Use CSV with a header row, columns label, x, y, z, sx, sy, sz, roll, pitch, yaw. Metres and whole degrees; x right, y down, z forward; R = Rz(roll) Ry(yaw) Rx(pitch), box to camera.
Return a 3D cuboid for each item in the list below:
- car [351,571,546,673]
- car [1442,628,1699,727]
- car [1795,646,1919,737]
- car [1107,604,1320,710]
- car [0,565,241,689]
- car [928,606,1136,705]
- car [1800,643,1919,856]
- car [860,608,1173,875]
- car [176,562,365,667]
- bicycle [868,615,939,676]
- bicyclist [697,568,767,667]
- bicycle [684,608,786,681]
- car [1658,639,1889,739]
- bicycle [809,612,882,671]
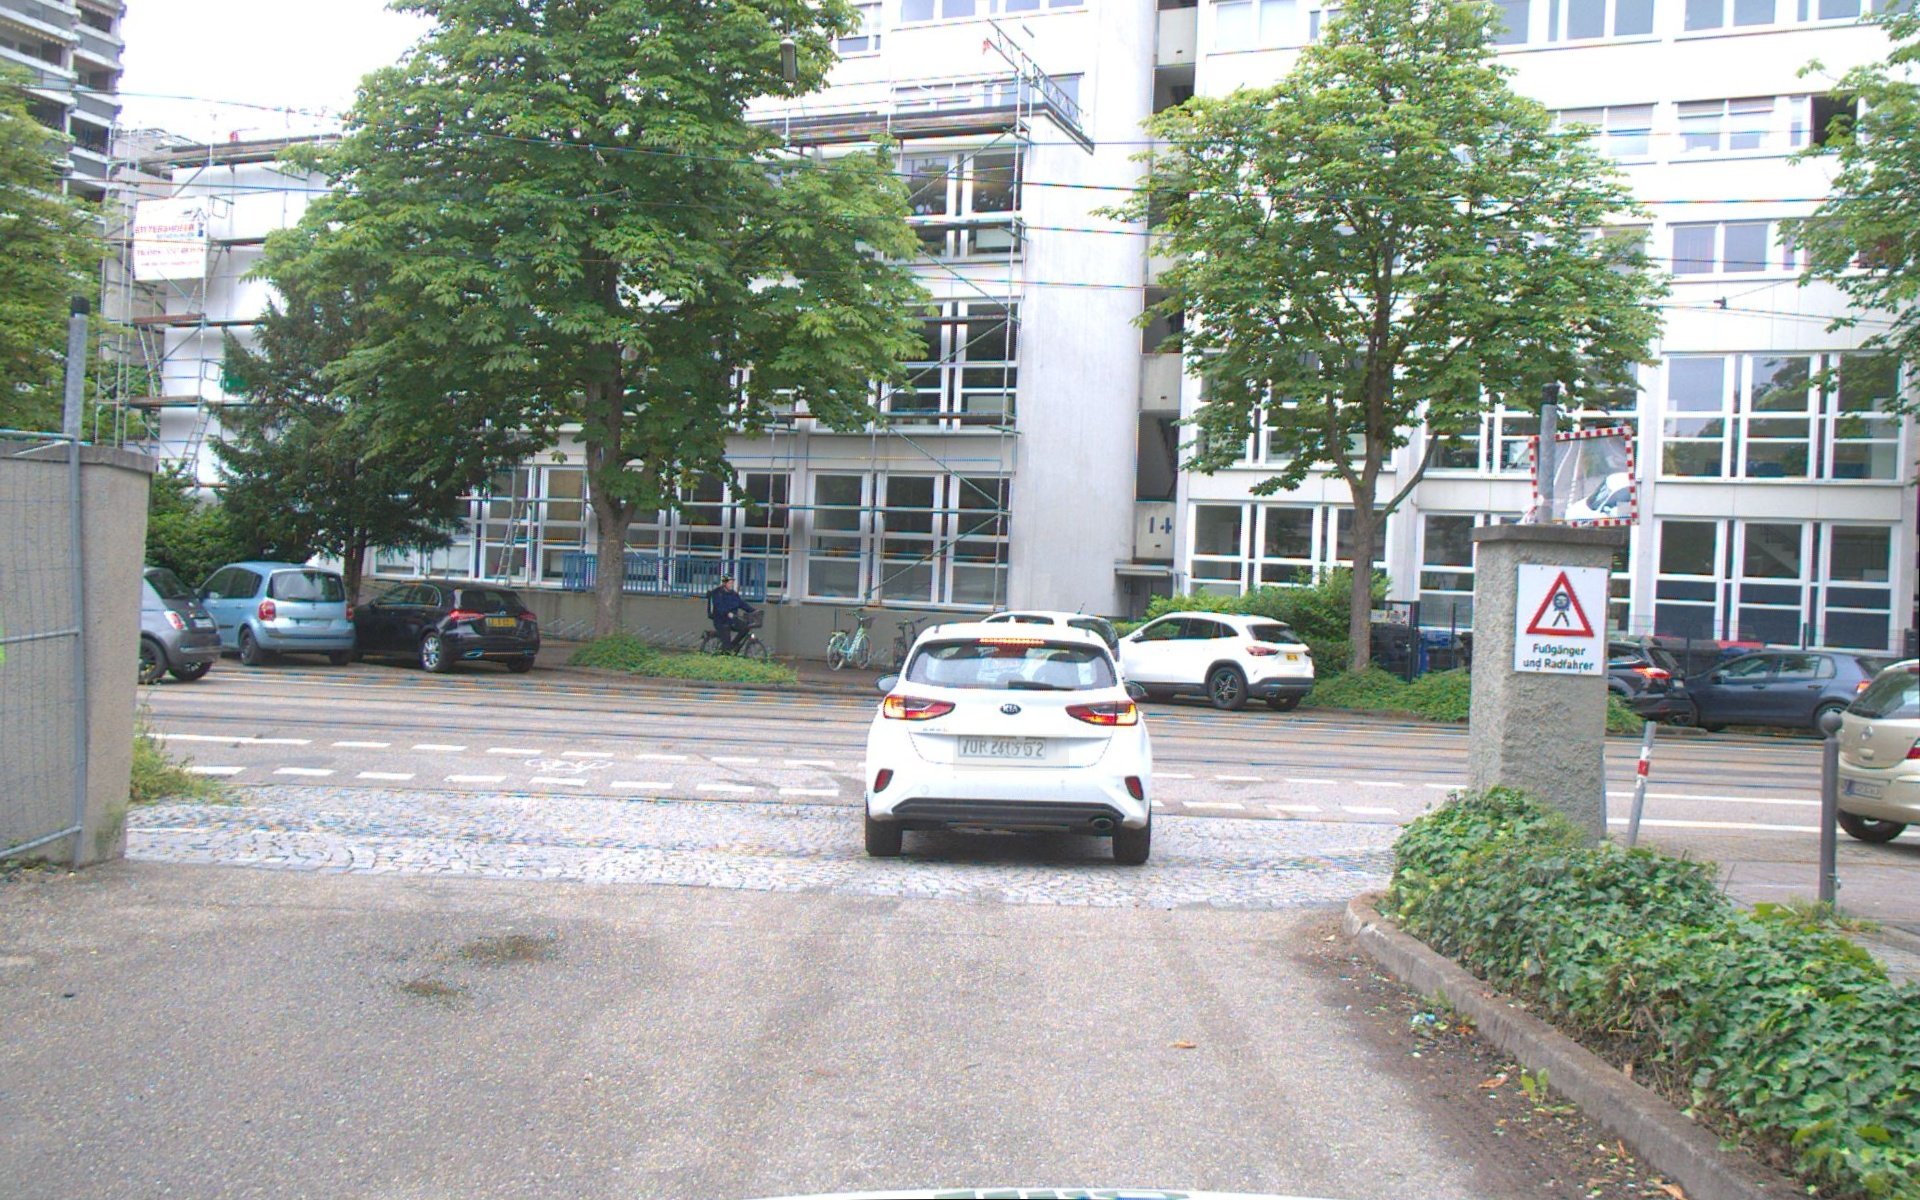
label,x,y,z,sx,sy,sz,roll,pitch,yaw
car,-8.424,0.336,27.149,3.279,1.537,1.608,2,-1,43
car,10.661,1.308,29.013,3.881,1.499,1.665,2,-1,40
car,16.940,1.639,29.562,3.332,1.499,1.407,2,-1,43
car,4.325,0.947,28.484,1.545,1.646,3.353,2,-1,-44
car,-11.231,0.316,21.163,3.352,1.445,1.519,2,0,-4
car,1.180,0.906,27.974,1.545,1.499,3.353,2,-1,-44
car,8.810,1.205,13.041,3.510,1.527,1.665,3,0,-3
car,0.402,0.887,11.395,1.738,1.458,3.979,2,-2,2
car,-11.304,0.218,27.027,3.279,1.564,1.608,2,0,43
bicycle,-1.126,0.902,33.747,0.631,1.093,2.313,2,2,19
bicyclist,-4.117,0.316,29.909,0.882,1.727,0.828,2,0,44
bicycle,-4.072,0.793,29.834,1.883,1.194,0.816,2,0,44
car,14.092,1.504,28.745,3.332,1.499,1.407,2,-1,43
bicycle,-2.346,0.834,34.208,0.631,1.093,2.313,2,2,19
